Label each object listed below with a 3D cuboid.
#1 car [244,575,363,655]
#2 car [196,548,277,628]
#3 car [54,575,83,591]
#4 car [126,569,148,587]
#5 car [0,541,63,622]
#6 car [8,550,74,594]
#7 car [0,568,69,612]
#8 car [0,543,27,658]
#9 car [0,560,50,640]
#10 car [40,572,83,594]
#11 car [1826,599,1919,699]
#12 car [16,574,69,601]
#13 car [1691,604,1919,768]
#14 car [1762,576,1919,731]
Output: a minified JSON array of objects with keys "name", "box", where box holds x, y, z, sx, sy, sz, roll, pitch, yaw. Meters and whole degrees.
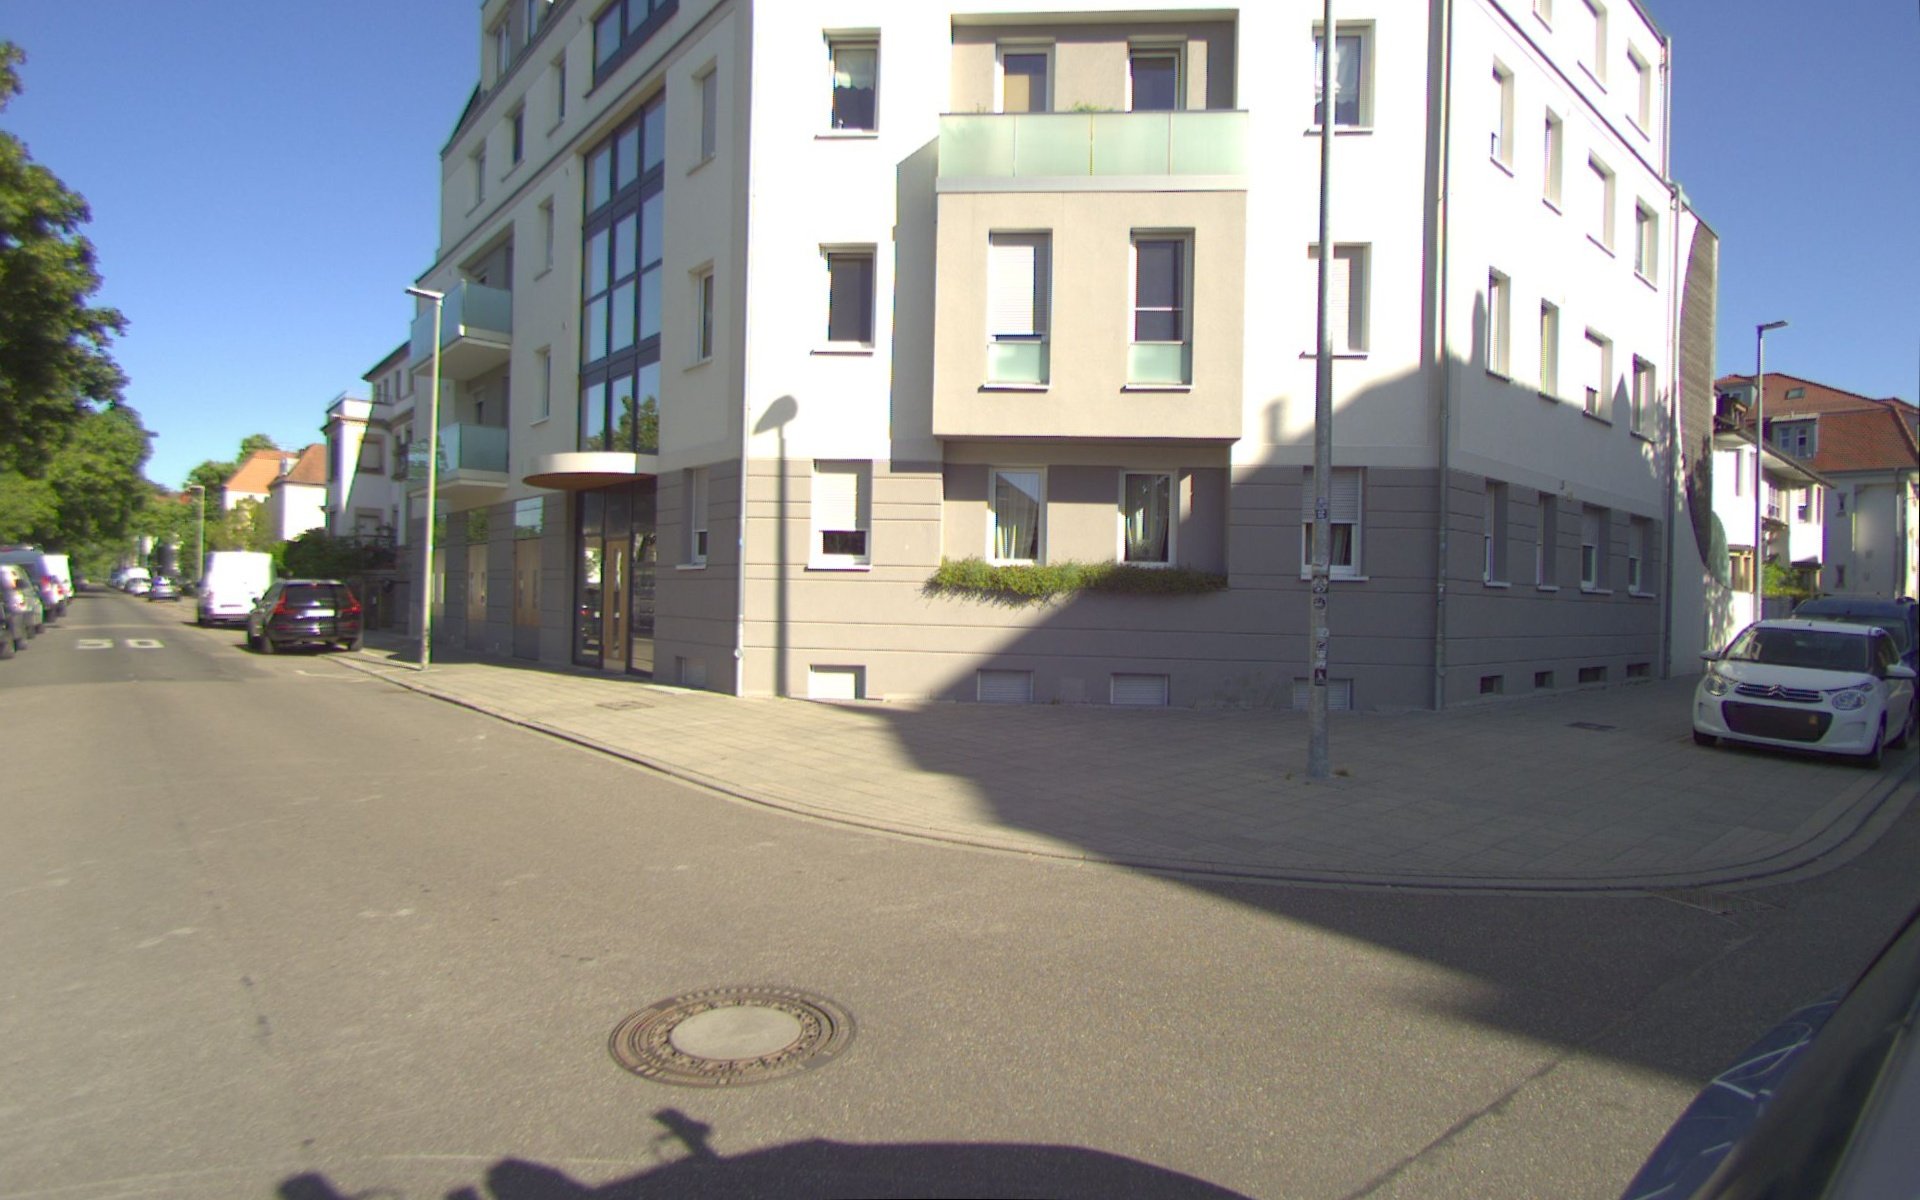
[{"name":"car","box":[-15.493,0.274,23.787,1.863,1.703,4.284,0,1,-40]},{"name":"car","box":[-24.832,-0.429,34.699,1.987,2.580,3.990,0,1,-40]},{"name":"car","box":[-92.716,-1.771,105.311,2.044,1.484,4.722,1,0,-40]},{"name":"car","box":[-94.914,-2.588,116.682,1.832,1.868,3.990,4,-1,-40]},{"name":"car","box":[-32.346,-0.646,34.646,2.155,2.615,4.283,-4,4,-40]},{"name":"car","box":[-53.274,-1.599,58.779,2.506,2.363,5.913,1,0,-40]},{"name":"car","box":[-36.653,-0.409,39.957,2.048,1.619,4.283,1,0,-40]},{"name":"car","box":[-19.441,0.016,19.569,1.753,2.109,3.990,-4,4,-40]},{"name":"car","box":[-24.664,-0.023,25.781,1.843,1.906,4.420,-4,4,-38]},{"name":"car","box":[-62.699,-1.206,70.705,2.044,1.484,4.722,1,0,-40]},{"name":"car","box":[17.071,0.848,18.189,3.995,1.560,1.665,1,3,-41]},{"name":"car","box":[-48.857,-0.689,53.956,1.900,1.361,4.105,1,0,-40]},{"name":"car","box":[9.927,0.861,11.621,3.624,1.466,1.664,1,3,-42]},{"name":"car","box":[13.159,0.686,14.599,4.182,1.858,1.665,1,3,-41]}]
